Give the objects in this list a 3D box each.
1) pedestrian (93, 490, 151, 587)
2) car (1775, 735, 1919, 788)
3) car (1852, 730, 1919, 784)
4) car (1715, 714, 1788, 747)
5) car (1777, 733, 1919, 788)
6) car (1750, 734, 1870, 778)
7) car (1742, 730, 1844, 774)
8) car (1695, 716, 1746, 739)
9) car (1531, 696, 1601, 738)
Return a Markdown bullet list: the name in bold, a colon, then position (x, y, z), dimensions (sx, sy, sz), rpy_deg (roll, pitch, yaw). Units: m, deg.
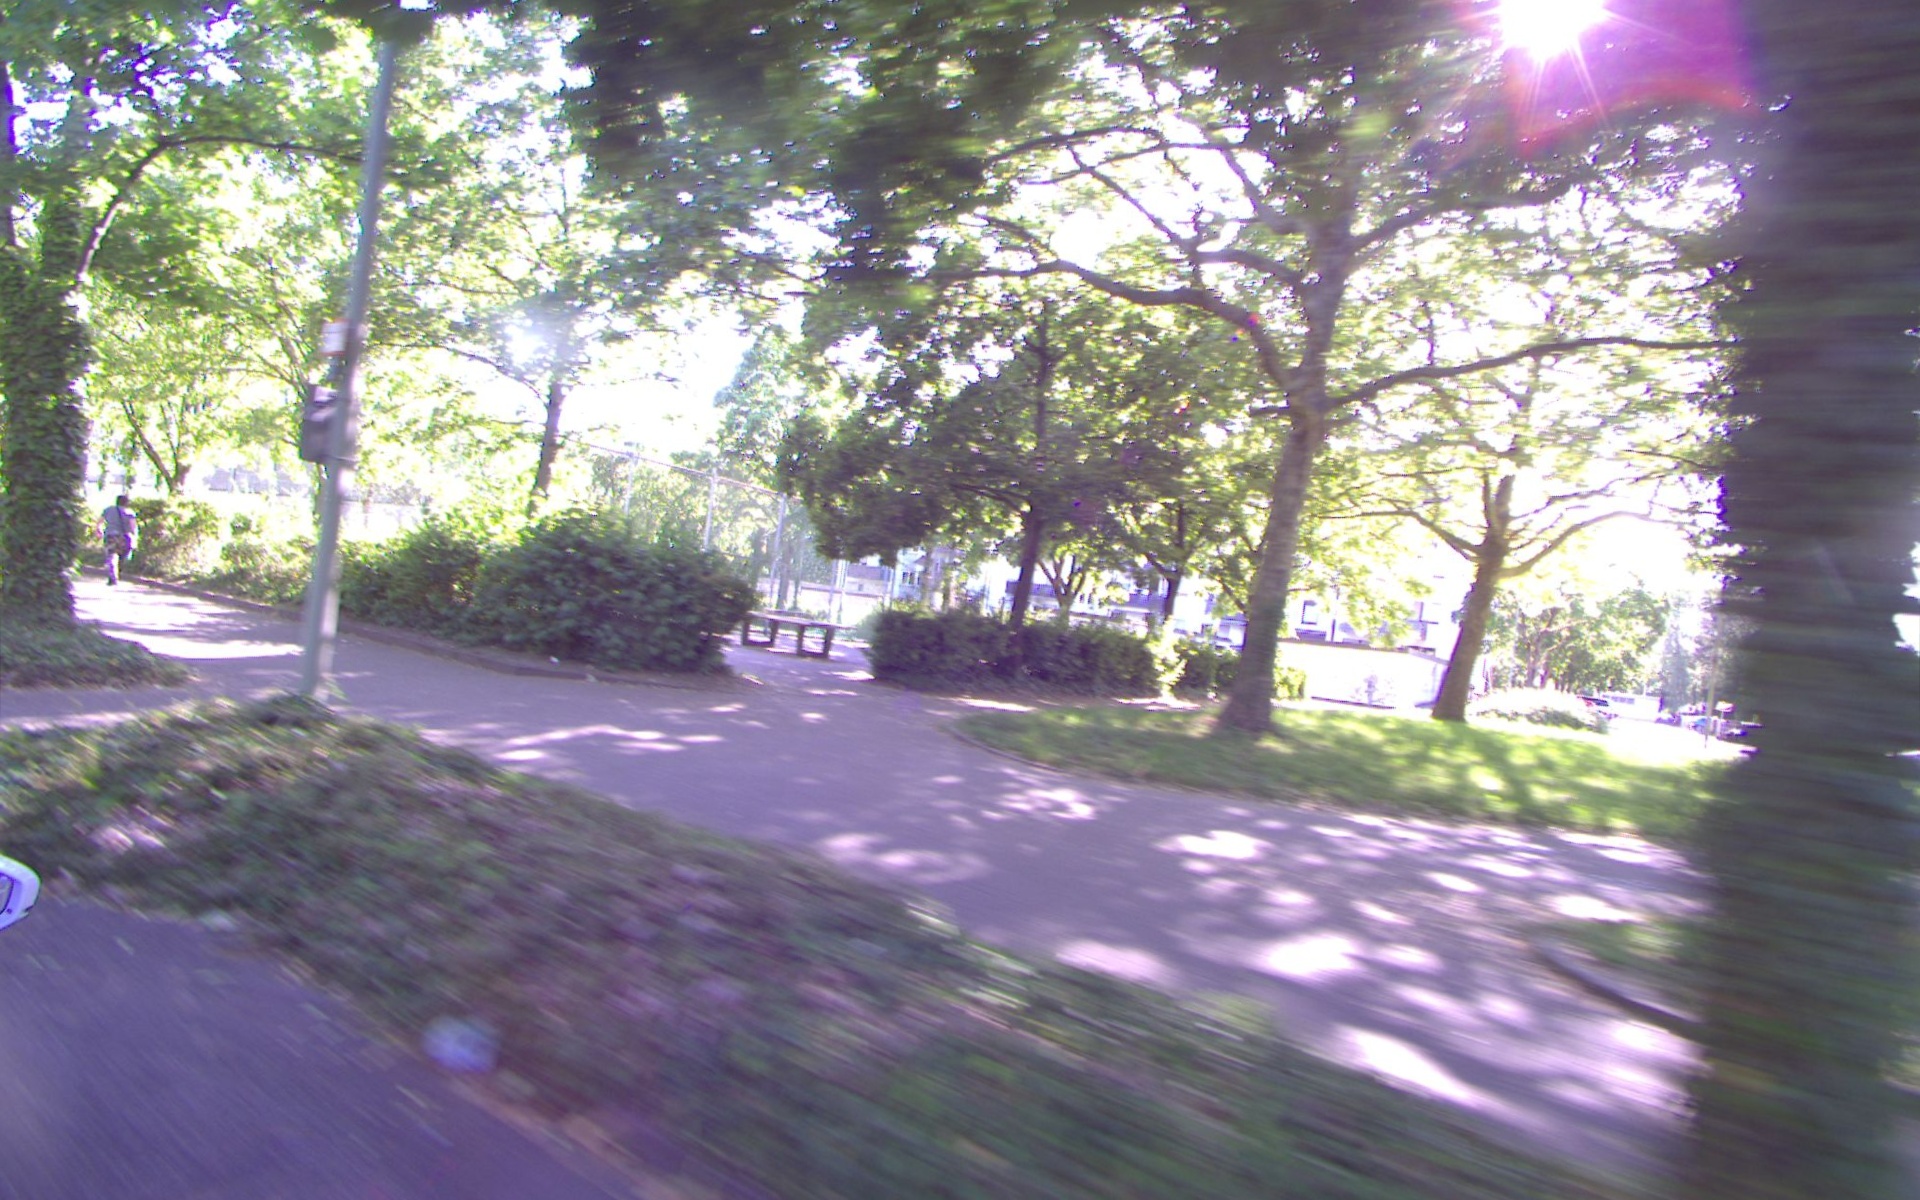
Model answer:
- **pedestrian**: position (-14.918, -1.100, 17.914), dimensions (0.662, 1.627, 0.570), rpy_deg (7, -1, 44)
- **car**: position (35.908, 6.509, 40.833), dimensions (4.088, 1.381, 1.747), rpy_deg (7, -3, 33)
- **car**: position (27.899, 4.641, 28.377), dimensions (3.795, 1.307, 1.541), rpy_deg (7, -3, 33)
- **car**: position (57.377, 9.465, 72.999), dimensions (3.939, 1.641, 1.996), rpy_deg (6, -3, 37)
- **car**: position (34.392, 6.163, 38.863), dimensions (4.088, 1.381, 1.747), rpy_deg (7, -3, 33)
- **car**: position (40.955, 7.521, 48.597), dimensions (4.088, 1.381, 1.747), rpy_deg (7, -3, 33)
- **car**: position (44.673, 8.140, 54.069), dimensions (3.939, 1.641, 1.996), rpy_deg (6, -3, 37)
- **car**: position (77.652, 13.007, 102.751), dimensions (3.939, 1.641, 1.996), rpy_deg (6, -3, 37)
- **car**: position (42.501, 8.219, 70.637), dimensions (3.934, 2.317, 1.999), rpy_deg (7, -3, 32)
